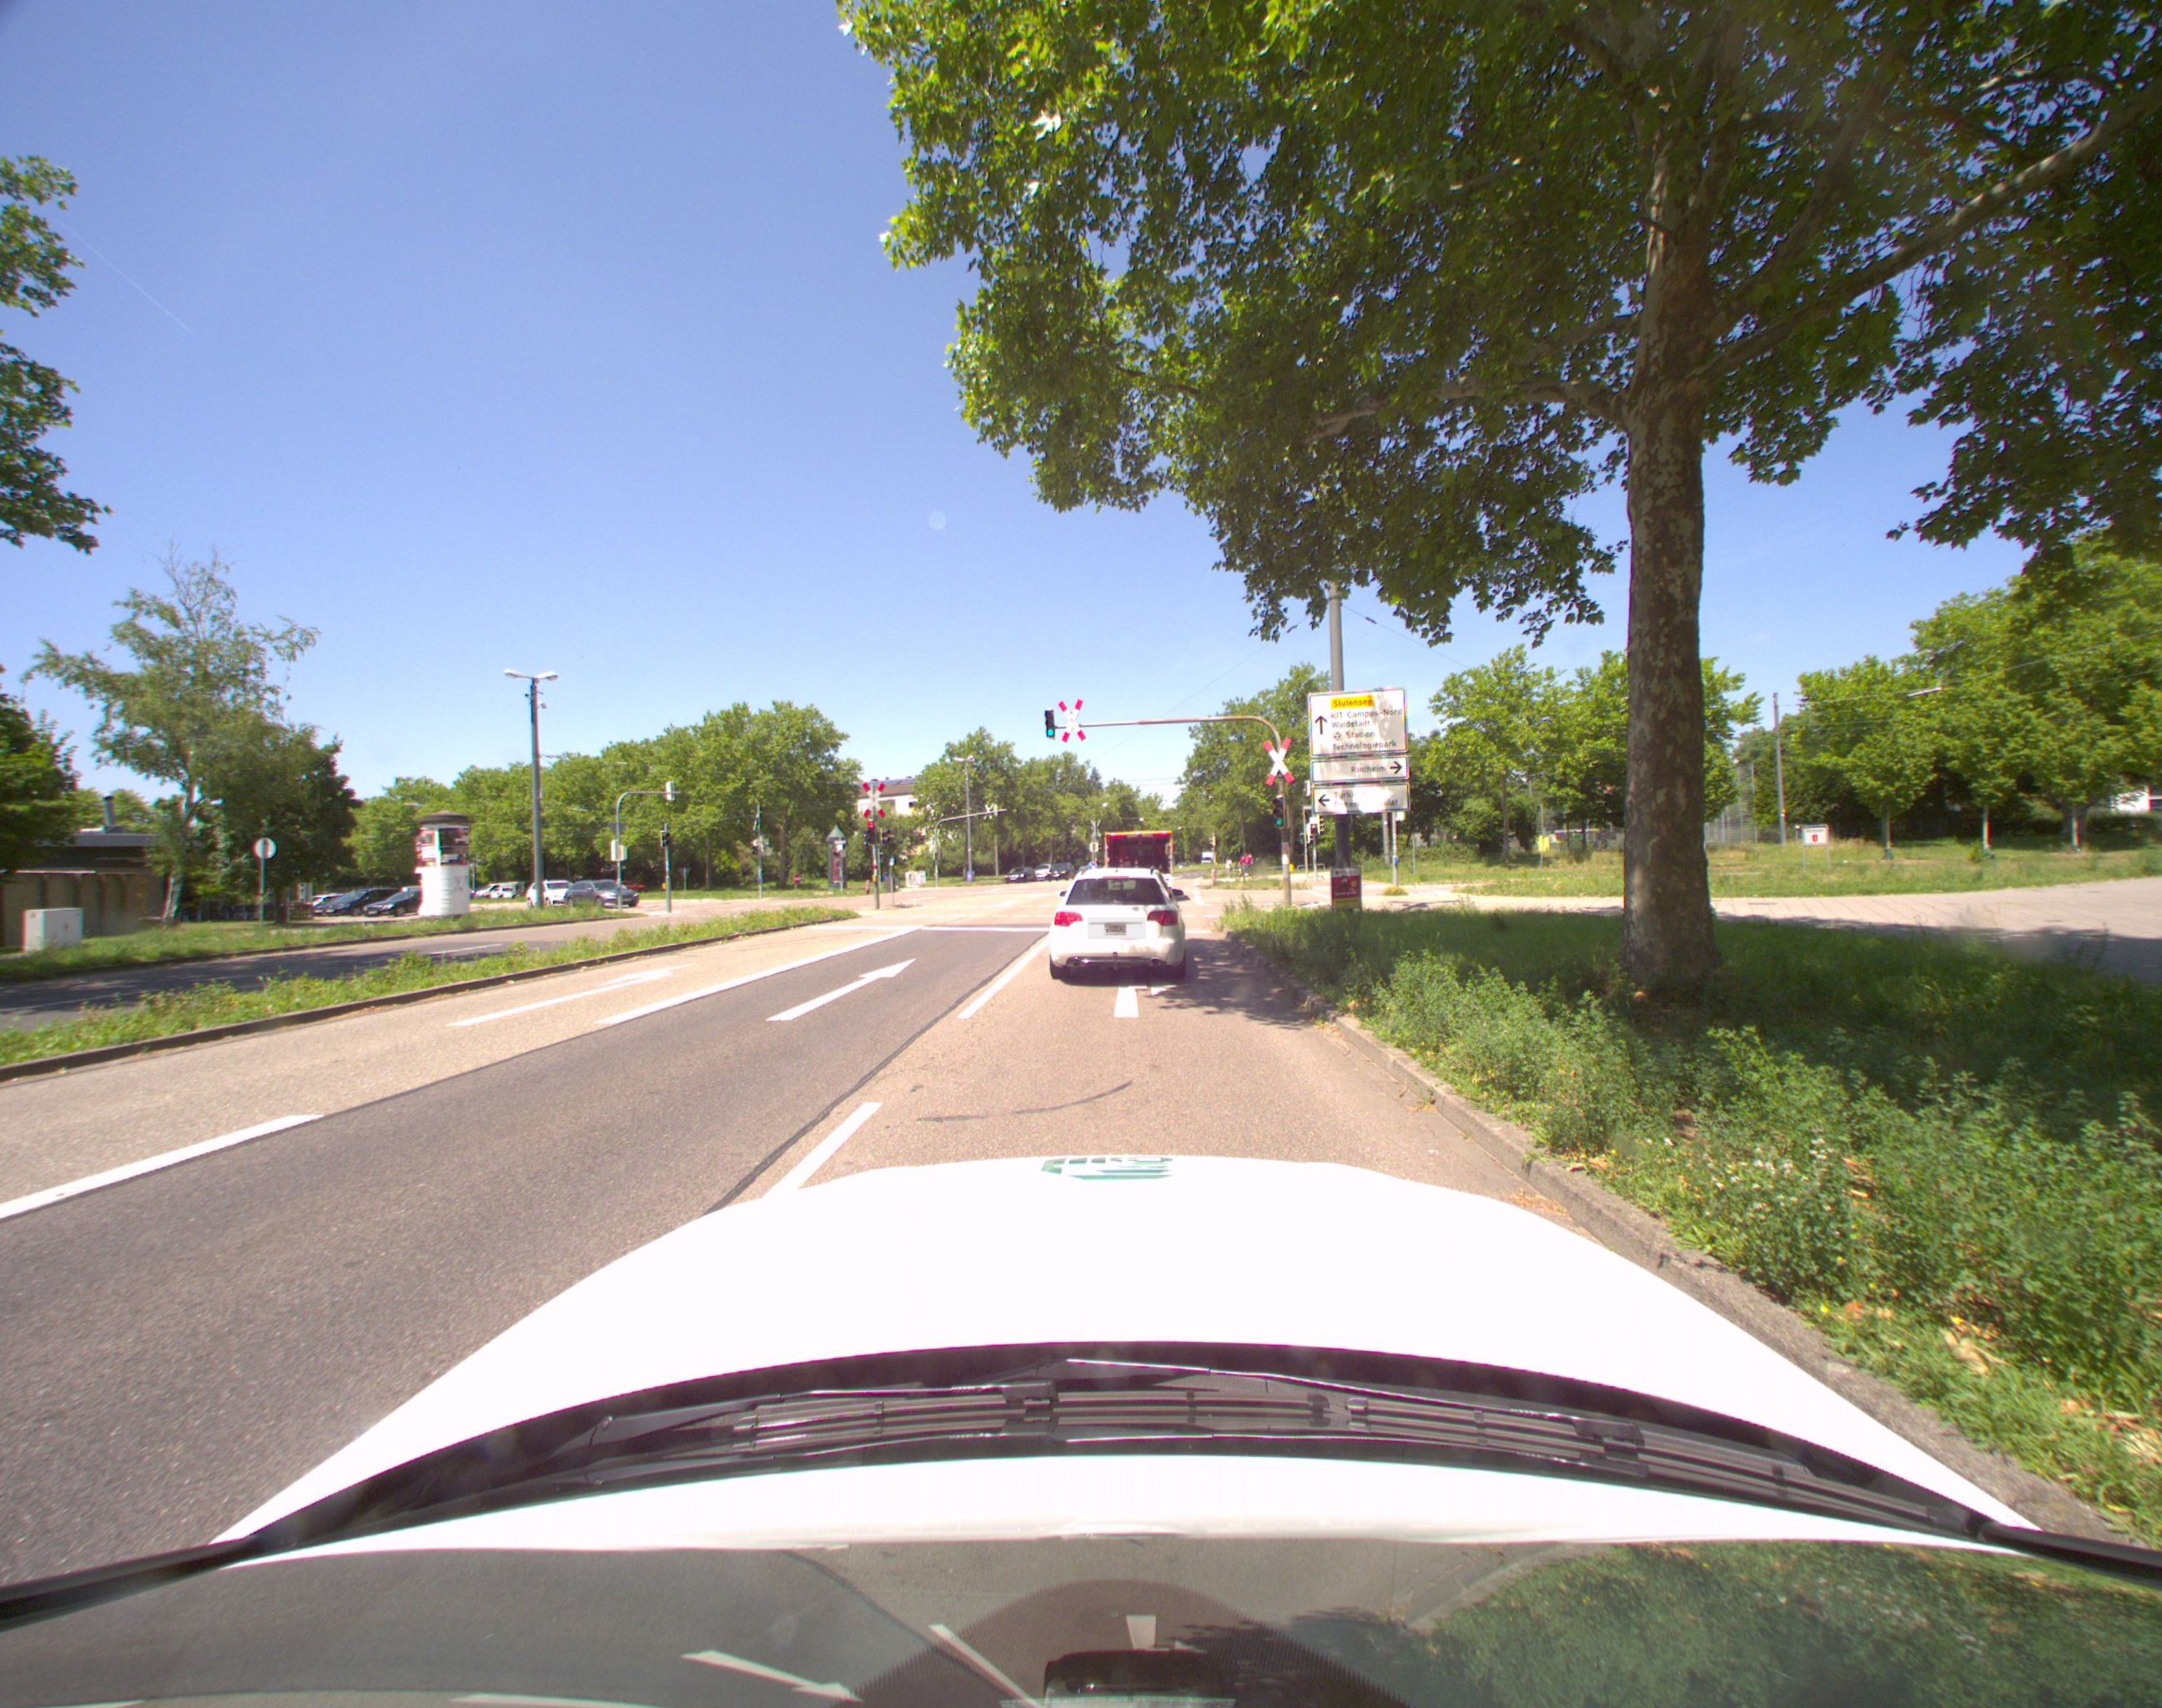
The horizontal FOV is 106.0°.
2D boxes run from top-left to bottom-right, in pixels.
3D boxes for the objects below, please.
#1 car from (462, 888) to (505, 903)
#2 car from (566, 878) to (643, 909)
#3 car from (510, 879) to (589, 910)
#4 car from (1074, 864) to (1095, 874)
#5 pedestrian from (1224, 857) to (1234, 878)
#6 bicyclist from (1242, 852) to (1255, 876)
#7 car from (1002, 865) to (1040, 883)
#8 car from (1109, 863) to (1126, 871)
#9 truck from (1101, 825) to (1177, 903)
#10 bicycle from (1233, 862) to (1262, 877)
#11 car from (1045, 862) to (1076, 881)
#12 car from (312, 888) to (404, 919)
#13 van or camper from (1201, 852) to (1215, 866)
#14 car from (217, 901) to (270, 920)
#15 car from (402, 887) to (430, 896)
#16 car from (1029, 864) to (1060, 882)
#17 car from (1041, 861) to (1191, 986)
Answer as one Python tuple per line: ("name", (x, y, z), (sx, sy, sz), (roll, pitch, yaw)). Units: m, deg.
("car", (-67.096, 4.667, 91.557), (1.481, 1.397, 3.572), (-3, -1, 29))
("car", (-24.329, 2.036, 41.565), (3.941, 1.457, 1.776), (-3, -1, 33))
("car", (-29.731, 2.270, 45.562), (4.403, 1.604, 2.231), (-3, -1, 36))
("car", (0.672, 2.535, 137.984), (1.864, 1.393, 4.024), (-2, -1, 28))
("pedestrian", (10.376, 0.944, 56.985), (0.548, 1.484, 0.632), (-2, -1, 18))
("bicyclist", (11.180, 0.665, 54.444), (0.669, 1.556, 0.579), (-2, -1, 0))
("car", (-5.329, 1.778, 72.735), (1.935, 1.440, 4.764), (-2, 0, 13))
("car", (6.910, 2.468, 152.681), (1.865, 1.474, 4.021), (-2, -1, 21))
("truck", (2.162, 0.376, 30.686), (2.500, 2.560, 7.610), (-1, -1, 4))
("bicycle", (11.128, 1.045, 54.436), (1.799, 0.896, 0.589), (-2, -1, 0))
("car", (-1.830, 1.574, 73.046), (1.897, 1.539, 4.311), (-2, -1, 10))
("car", (-45.305, 3.091, 51.155), (1.769, 1.651, 4.200), (-2, -1, 5))
("van or camper", (30.986, 1.172, 198.155), (2.640, 3.331, 5.523), (-2, -1, 16))
("car", (-64.534, 4.352, 62.779), (1.181, 1.205, 2.874), (-2, 0, -4))
("car", (-89.170, 5.047, 109.180), (0.996, 0.994, 2.738), (-3, -1, 30))
("car", (-3.549, 1.804, 79.693), (1.775, 1.615, 4.420), (-2, -1, 13))
("car", (0.581, 0.847, 11.473), (1.754, 1.445, 3.621), (-1, -1, 5))
